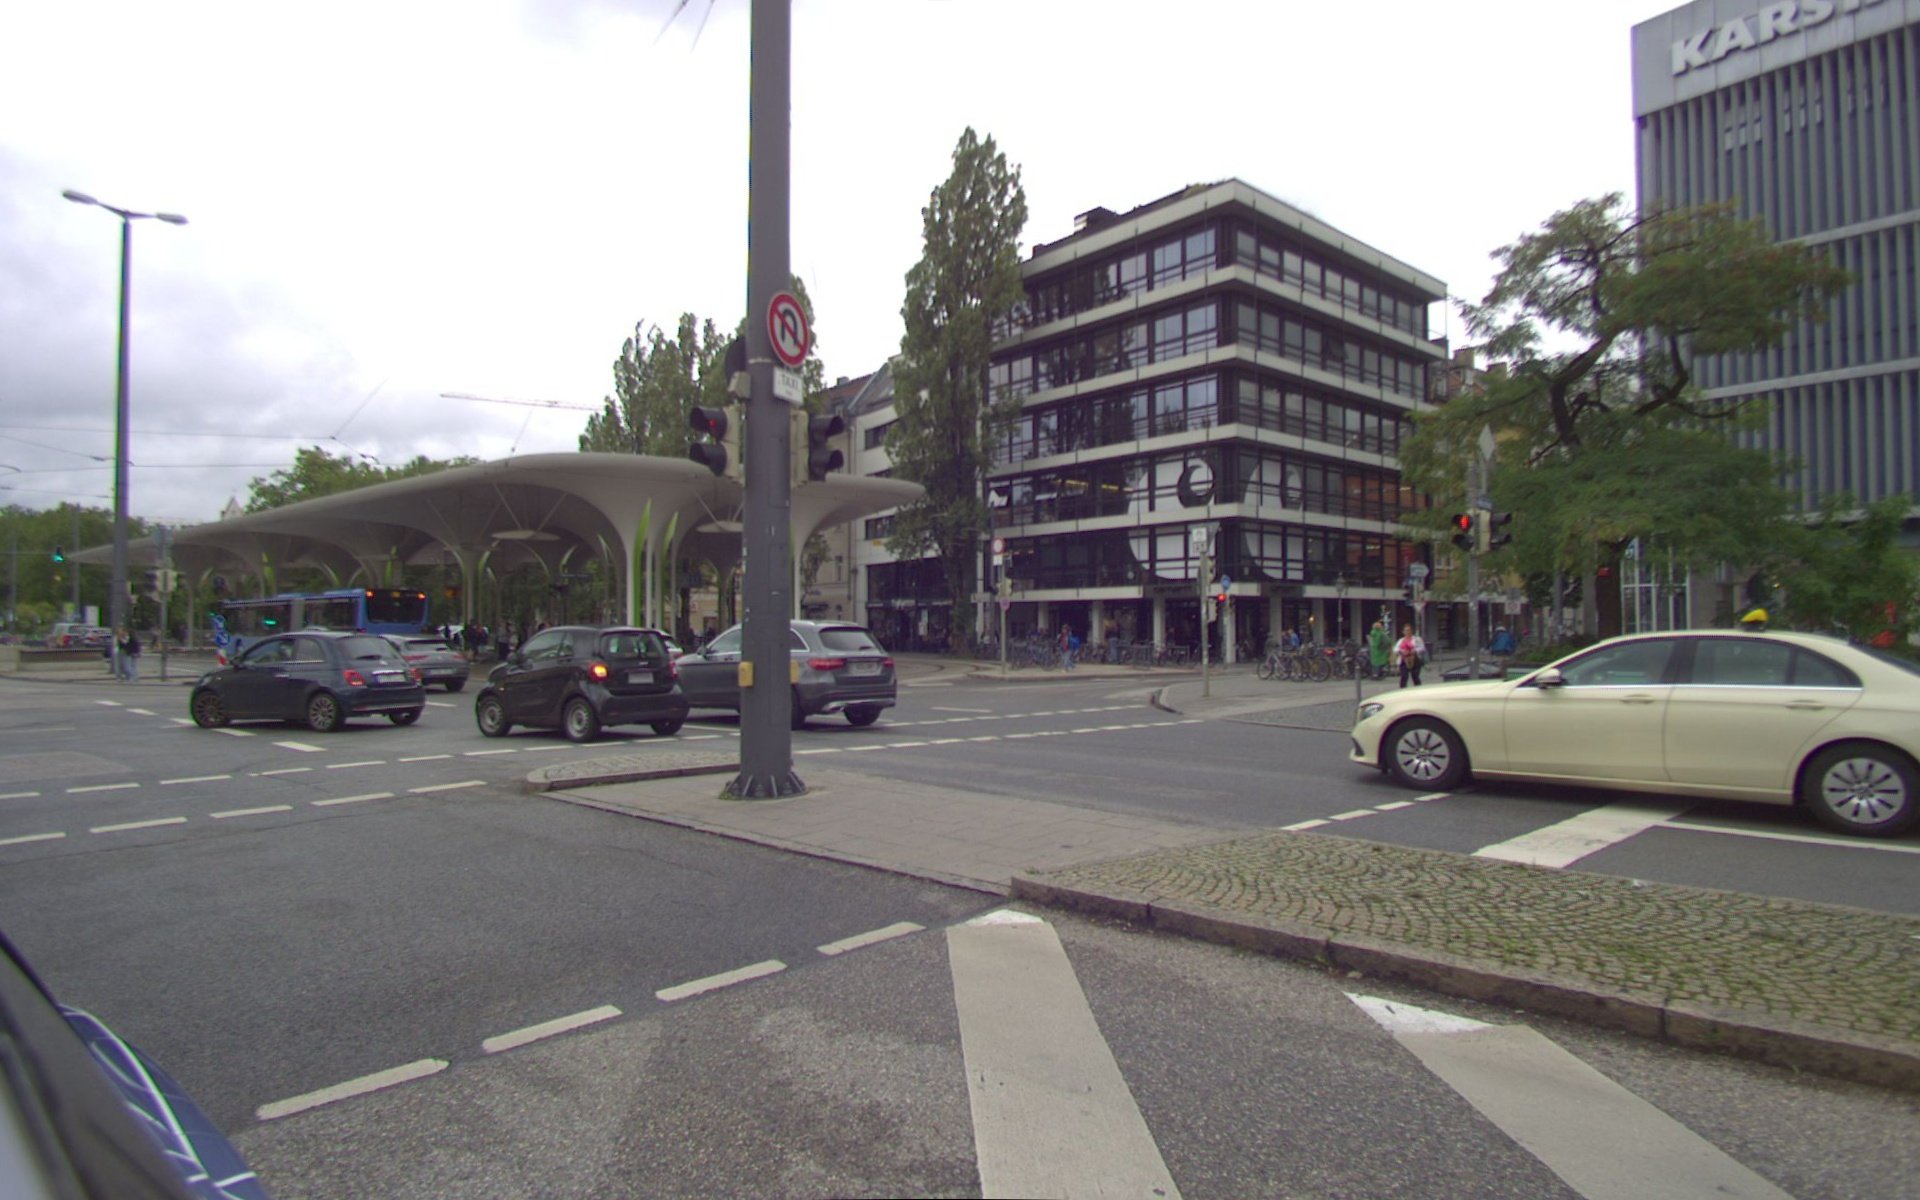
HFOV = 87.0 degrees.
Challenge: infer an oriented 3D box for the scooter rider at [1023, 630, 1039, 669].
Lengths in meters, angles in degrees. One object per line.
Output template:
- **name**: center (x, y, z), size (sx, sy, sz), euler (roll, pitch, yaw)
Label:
- **scooter rider**: center (3.360, 2.333, 47.750), size (0.600, 1.853, 0.557), euler (0, -2, -12)

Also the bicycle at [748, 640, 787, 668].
- **bicycle**: center (-7.936, 2.202, 41.622), size (0.645, 1.127, 2.186), euler (1, -2, -39)

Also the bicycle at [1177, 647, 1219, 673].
- **bicycle**: center (9.986, 2.518, 42.500), size (1.611, 1.082, 0.429), euler (0, -2, -1)

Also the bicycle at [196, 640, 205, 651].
- **bicycle**: center (-62.887, 3.768, 83.763), size (0.473, 0.901, 1.852), euler (1, -2, -41)

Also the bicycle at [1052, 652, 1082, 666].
- **bicycle**: center (5.182, 2.849, 49.072), size (1.607, 0.637, 0.364), euler (1, -2, -35)

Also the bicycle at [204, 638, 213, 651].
- **bicycle**: center (-62.459, 3.681, 84.104), size (0.472, 1.104, 1.853), euler (1, -2, -39)

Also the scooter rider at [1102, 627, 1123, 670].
- **scooter rider**: center (6.719, 2.131, 44.597), size (0.665, 1.849, 0.613), euler (-2, -2, 33)

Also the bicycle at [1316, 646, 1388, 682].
- **bicycle**: center (12.021, 1.945, 31.079), size (1.985, 1.005, 0.521), euler (1, 0, 42)

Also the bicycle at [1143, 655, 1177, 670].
- **bicycle**: center (8.806, 2.736, 44.532), size (1.607, 0.637, 0.430), euler (1, -2, -35)

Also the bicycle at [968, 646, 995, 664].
- **bicycle**: center (1.176, 2.958, 54.523), size (0.449, 0.933, 1.804), euler (-2, -2, 38)

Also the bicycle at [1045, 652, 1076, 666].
- **bicycle**: center (4.911, 2.857, 49.405), size (1.607, 0.637, 0.364), euler (1, -2, -35)

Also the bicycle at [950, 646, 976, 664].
- **bicycle**: center (0.171, 2.990, 55.531), size (0.449, 0.933, 1.804), euler (-2, -2, 38)

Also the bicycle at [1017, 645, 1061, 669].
- **bicycle**: center (3.189, 2.281, 40.759), size (1.704, 0.946, 0.456), euler (1, -1, -7)

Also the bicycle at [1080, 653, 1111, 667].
- **bicycle**: center (6.382, 2.811, 47.577), size (1.607, 0.637, 0.364), euler (1, -2, -35)

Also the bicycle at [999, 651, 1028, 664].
- **bicycle**: center (2.733, 2.953, 51.782), size (1.607, 0.637, 0.364), euler (1, -2, -35)

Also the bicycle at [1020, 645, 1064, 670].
- **bicycle**: center (3.237, 2.281, 40.106), size (1.707, 0.946, 0.455), euler (1, -1, 1)

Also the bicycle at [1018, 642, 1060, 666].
- **bicycle**: center (3.340, 2.273, 42.602), size (1.704, 0.946, 0.455), euler (1, -1, -5)

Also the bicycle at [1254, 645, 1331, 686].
- **bicycle**: center (9.298, 1.818, 28.362), size (1.985, 1.005, 0.521), euler (1, 0, 42)

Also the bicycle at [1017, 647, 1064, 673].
- **bicycle**: center (3.061, 2.263, 38.440), size (1.719, 0.946, 0.452), euler (0, -1, 22)

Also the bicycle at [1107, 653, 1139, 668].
- **bicycle**: center (7.466, 2.777, 46.333), size (1.607, 0.637, 0.364), euler (1, -2, -35)

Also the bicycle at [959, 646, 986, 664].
- **bicycle**: center (0.670, 2.975, 54.902), size (0.449, 0.933, 1.804), euler (-2, -2, 38)

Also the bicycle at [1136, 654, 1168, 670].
- **bicycle**: center (8.539, 2.744, 44.922), size (1.607, 0.637, 0.364), euler (1, -2, -35)

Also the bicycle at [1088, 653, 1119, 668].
- **bicycle**: center (6.696, 2.802, 47.127), size (1.607, 0.637, 0.364), euler (1, -2, -35)

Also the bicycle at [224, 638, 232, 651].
- **bicycle**: center (-61.448, 3.733, 84.962), size (0.472, 1.104, 1.854), euler (1, -2, -36)

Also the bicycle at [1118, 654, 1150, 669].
- **bicycle**: center (7.879, 2.765, 45.753), size (1.607, 0.637, 0.364), euler (1, -2, -35)

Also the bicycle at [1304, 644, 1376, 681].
- **bicycle**: center (11.425, 1.857, 30.460), size (1.985, 1.005, 0.521), euler (1, 0, 42)

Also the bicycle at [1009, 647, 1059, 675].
- **bicycle**: center (2.653, 2.185, 36.380), size (1.718, 0.946, 0.452), euler (0, -1, 21)

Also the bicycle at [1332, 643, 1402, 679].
- **bicycle**: center (12.852, 1.915, 31.966), size (1.985, 1.005, 0.521), euler (1, 0, 42)

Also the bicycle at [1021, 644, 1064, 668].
- **bicycle**: center (3.367, 2.274, 41.357), size (1.704, 0.946, 0.456), euler (1, -1, -7)

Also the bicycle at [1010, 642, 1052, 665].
- **bicycle**: center (3.025, 2.283, 43.079), size (1.704, 0.946, 0.455), euler (1, -1, -5)

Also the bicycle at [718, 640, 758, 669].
- **bicycle**: center (-8.959, 2.174, 40.724), size (0.633, 1.133, 2.169), euler (1, -2, -40)

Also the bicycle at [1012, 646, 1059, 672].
- **bicycle**: center (2.904, 2.267, 38.985), size (1.718, 0.946, 0.452), euler (0, -1, 20)

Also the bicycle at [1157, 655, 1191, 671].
- **bicycle**: center (9.302, 2.720, 43.938), size (1.607, 0.637, 0.430), euler (1, -2, -35)

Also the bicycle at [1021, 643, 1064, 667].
- **bicycle**: center (3.427, 2.271, 41.900), size (1.704, 0.946, 0.456), euler (1, -1, -7)

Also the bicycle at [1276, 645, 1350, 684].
- **bicycle**: center (10.150, 1.835, 29.145), size (1.985, 1.005, 0.521), euler (1, 0, 42)

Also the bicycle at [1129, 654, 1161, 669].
- **bicycle**: center (8.281, 2.752, 45.284), size (1.607, 0.637, 0.430), euler (1, -2, -35)

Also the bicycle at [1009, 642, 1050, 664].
- **bicycle**: center (3.017, 2.282, 43.797), size (1.702, 0.946, 0.456), euler (1, -1, -15)

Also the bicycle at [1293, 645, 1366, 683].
- **bicycle**: center (10.901, 1.875, 29.887), size (1.985, 1.005, 0.521), euler (1, 0, 42)

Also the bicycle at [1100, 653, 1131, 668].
- **bicycle**: center (7.156, 2.787, 46.649), size (1.607, 0.637, 0.364), euler (1, -2, -35)

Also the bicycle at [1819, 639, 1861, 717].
- **bicycle**: center (13.649, 1.185, 15.680), size (0.373, 1.120, 1.556), euler (-2, -2, 44)
